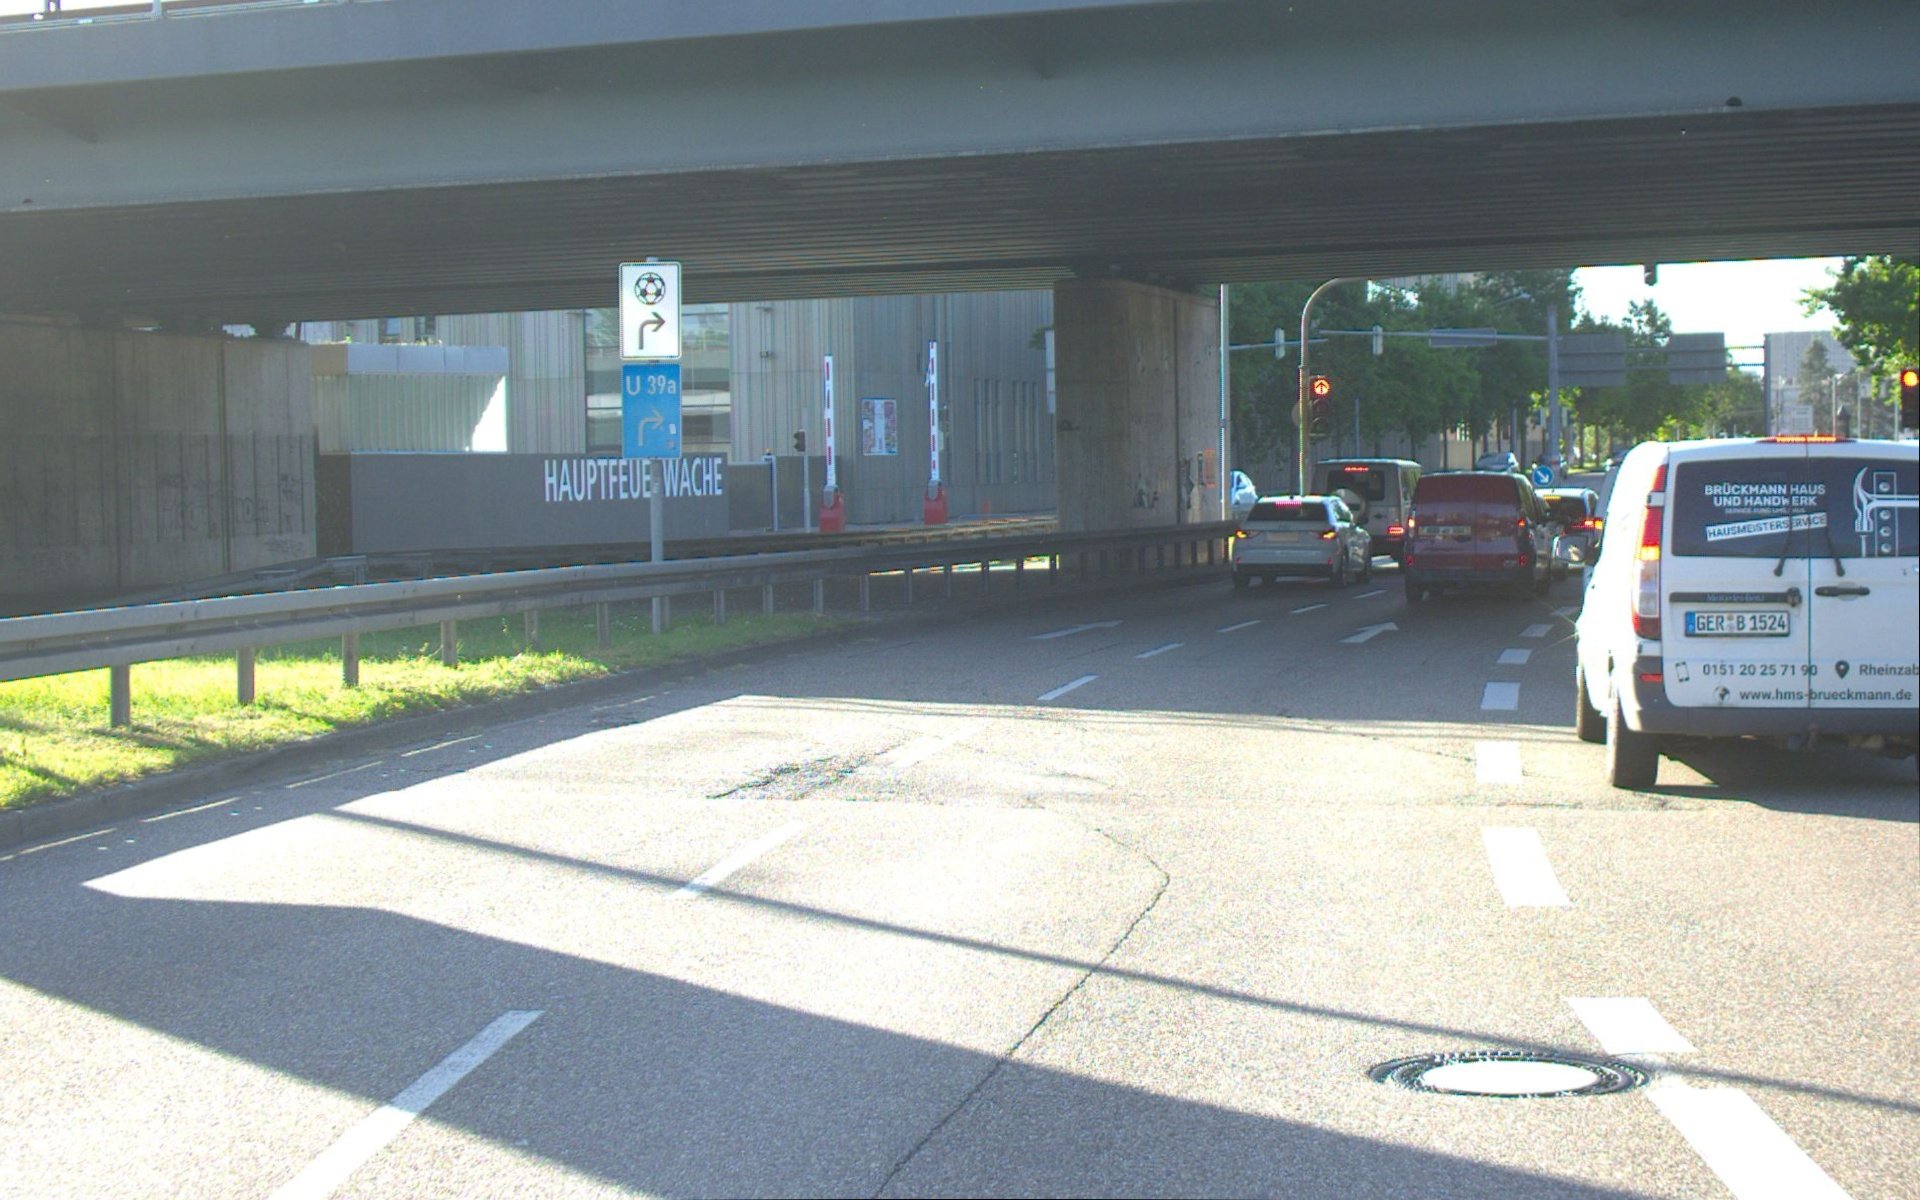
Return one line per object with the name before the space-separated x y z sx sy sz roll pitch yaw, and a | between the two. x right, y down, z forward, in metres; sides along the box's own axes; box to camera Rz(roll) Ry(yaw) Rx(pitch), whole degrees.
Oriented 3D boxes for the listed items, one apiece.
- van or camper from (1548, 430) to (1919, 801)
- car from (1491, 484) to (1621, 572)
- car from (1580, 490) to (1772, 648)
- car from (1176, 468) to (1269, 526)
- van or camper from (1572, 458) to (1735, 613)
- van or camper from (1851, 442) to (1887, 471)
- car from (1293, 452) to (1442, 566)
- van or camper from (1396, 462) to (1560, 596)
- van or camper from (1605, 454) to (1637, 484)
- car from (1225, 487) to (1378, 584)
van or camper | 4.572 0.008 19.860 1.959 1.877 4.879 0 2 5
car | 10.499 -1.281 60.345 1.764 1.470 4.286 -1 1 16
car | 7.147 -0.346 34.594 1.764 1.470 4.287 -1 1 10
car | 7.628 -2.987 99.713 1.784 1.639 4.198 1 2 17
van or camper | 8.495 -0.818 41.938 1.826 1.785 4.542 1 2 12
van or camper | 60.481 -9.553 228.717 1.787 1.857 3.904 -2 1 22
car | 7.257 -1.622 60.865 1.867 1.940 4.593 0 2 16
van or camper | 7.307 -1.020 48.258 1.755 1.807 3.956 0 2 16
van or camper | 43.555 -8.647 226.365 1.786 1.857 3.906 -2 1 14
car | 5.362 -1.027 53.578 1.709 1.447 3.740 0 2 16
